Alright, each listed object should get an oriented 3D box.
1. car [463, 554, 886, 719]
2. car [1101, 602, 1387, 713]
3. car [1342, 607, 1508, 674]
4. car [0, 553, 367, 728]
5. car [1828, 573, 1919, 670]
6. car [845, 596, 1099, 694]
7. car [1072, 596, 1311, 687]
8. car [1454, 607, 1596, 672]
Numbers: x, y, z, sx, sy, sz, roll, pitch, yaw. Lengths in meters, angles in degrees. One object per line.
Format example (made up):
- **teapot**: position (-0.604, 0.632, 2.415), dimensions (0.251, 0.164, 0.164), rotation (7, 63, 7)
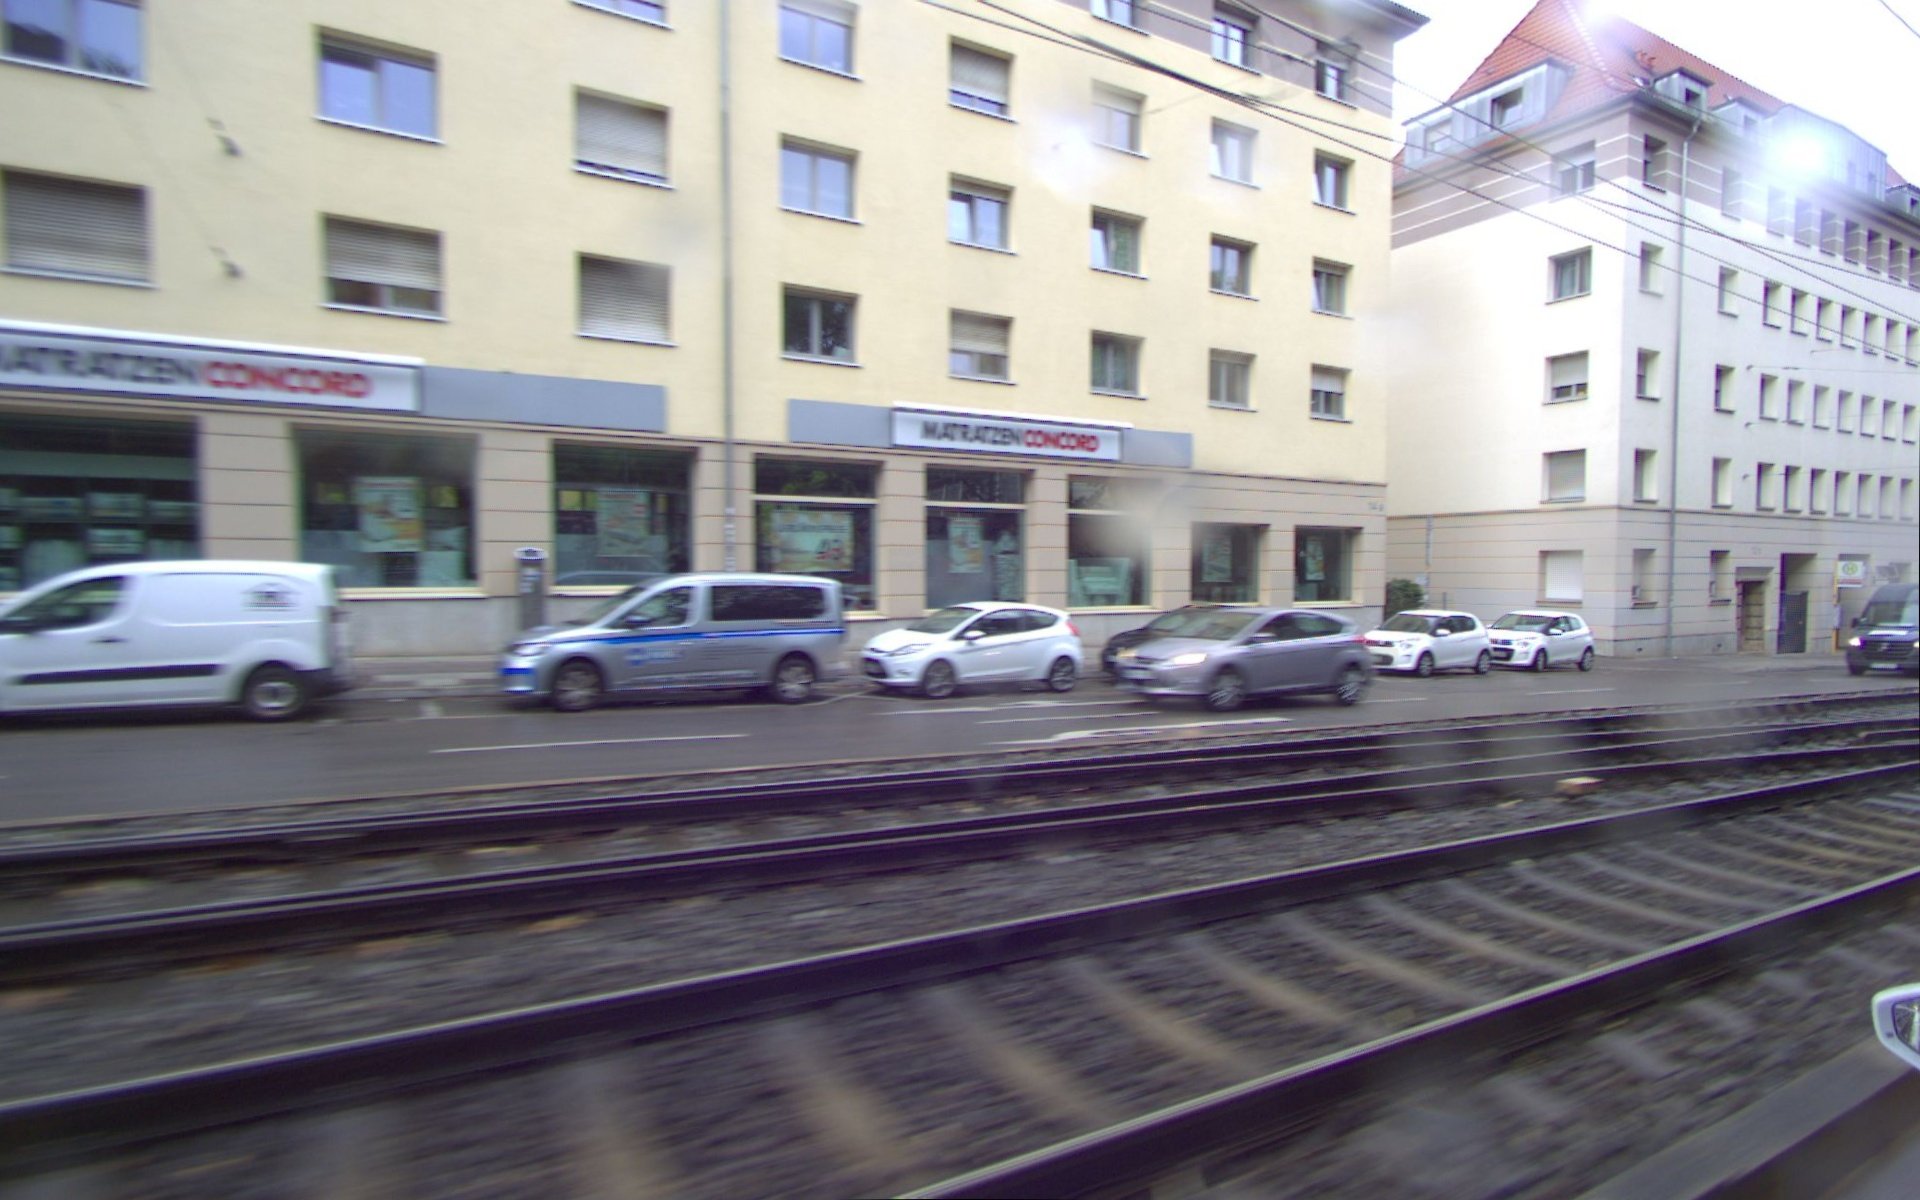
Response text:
- **car**: position (-3.915, 0.435, 14.187), dimensions (5.398, 1.931, 1.982), rotation (1, 3, -32)
- **car**: position (4.363, 0.794, 15.289), dimensions (4.228, 1.482, 1.704), rotation (1, 0, -29)
- **car**: position (10.944, 0.910, 23.570), dimensions (3.892, 1.415, 1.694), rotation (1, 1, -32)
- **car**: position (-9.252, 0.408, 11.234), dimensions (4.406, 1.740, 1.859), rotation (1, 0, -29)
- **car**: position (26.770, 0.610, 28.051), dimensions (5.928, 2.484, 1.984), rotation (2, 0, -30)
- **car**: position (0.254, 0.737, 16.837), dimensions (4.007, 1.458, 1.681), rotation (1, -3, -34)
- **car**: position (4.545, 0.742, 19.519), dimensions (4.529, 1.519, 1.804), rotation (0, 2, -31)
- **car**: position (14.525, 0.984, 25.811), dimensions (3.503, 1.469, 1.698), rotation (1, 3, -33)
